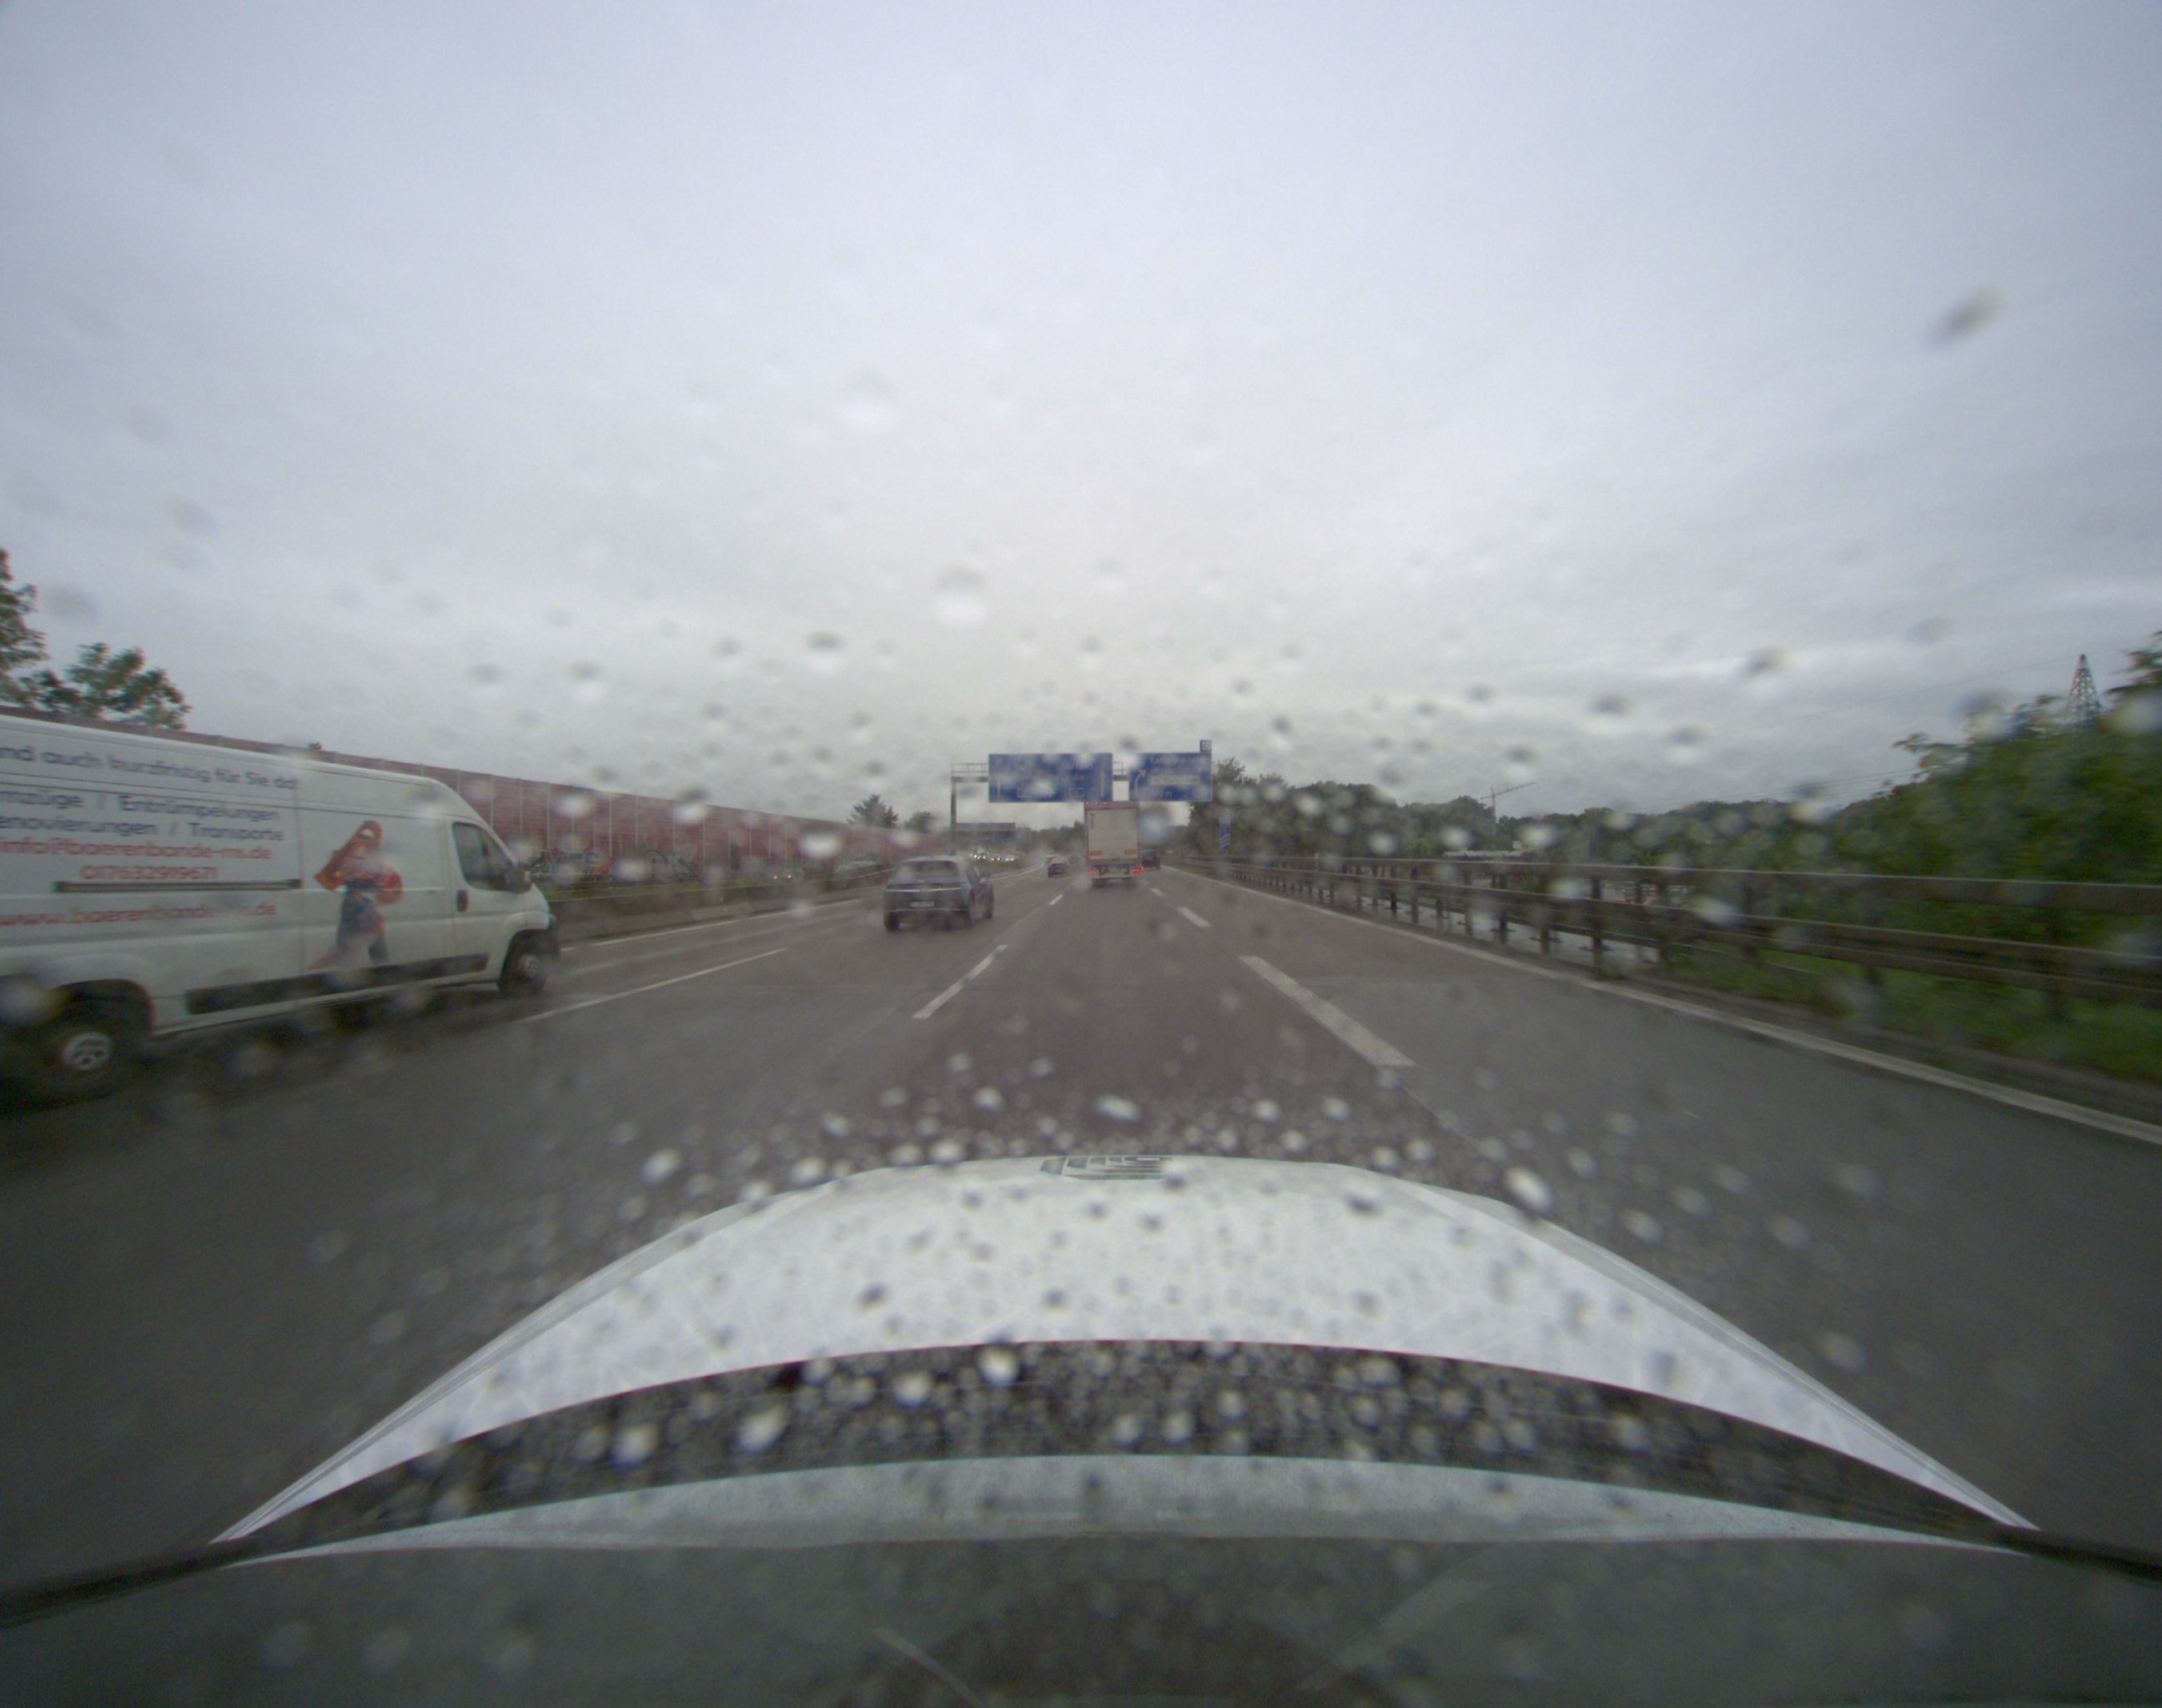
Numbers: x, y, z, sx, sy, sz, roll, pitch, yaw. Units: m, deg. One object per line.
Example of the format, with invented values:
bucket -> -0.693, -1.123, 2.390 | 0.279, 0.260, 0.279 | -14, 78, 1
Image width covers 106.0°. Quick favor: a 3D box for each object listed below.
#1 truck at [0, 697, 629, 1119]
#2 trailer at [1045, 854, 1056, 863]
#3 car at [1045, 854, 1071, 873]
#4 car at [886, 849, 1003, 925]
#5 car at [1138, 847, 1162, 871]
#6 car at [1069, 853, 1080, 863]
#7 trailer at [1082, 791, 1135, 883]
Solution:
truck -> -7.389, 0.350, 7.821 | 2.229, 2.479, 6.585 | -1, 0, 1
trailer -> -5.815, 0.806, 157.258 | 1.808, 1.624, 4.571 | 1, 0, 2
car -> -1.749, 0.737, 64.097 | 1.718, 1.403, 4.831 | 1, -1, 2
car -> -3.138, 0.728, 19.792 | 1.832, 1.594, 5.157 | 0, -1, 2
car -> 5.910, 0.431, 70.193 | 1.889, 1.949, 4.004 | 2, 0, 4
car -> -1.185, 0.770, 152.928 | 1.886, 1.723, 4.002 | 0, 0, 2
trailer -> 1.575, -0.870, 44.698 | 2.333, 4.157, 14.836 | -1, 0, 2
